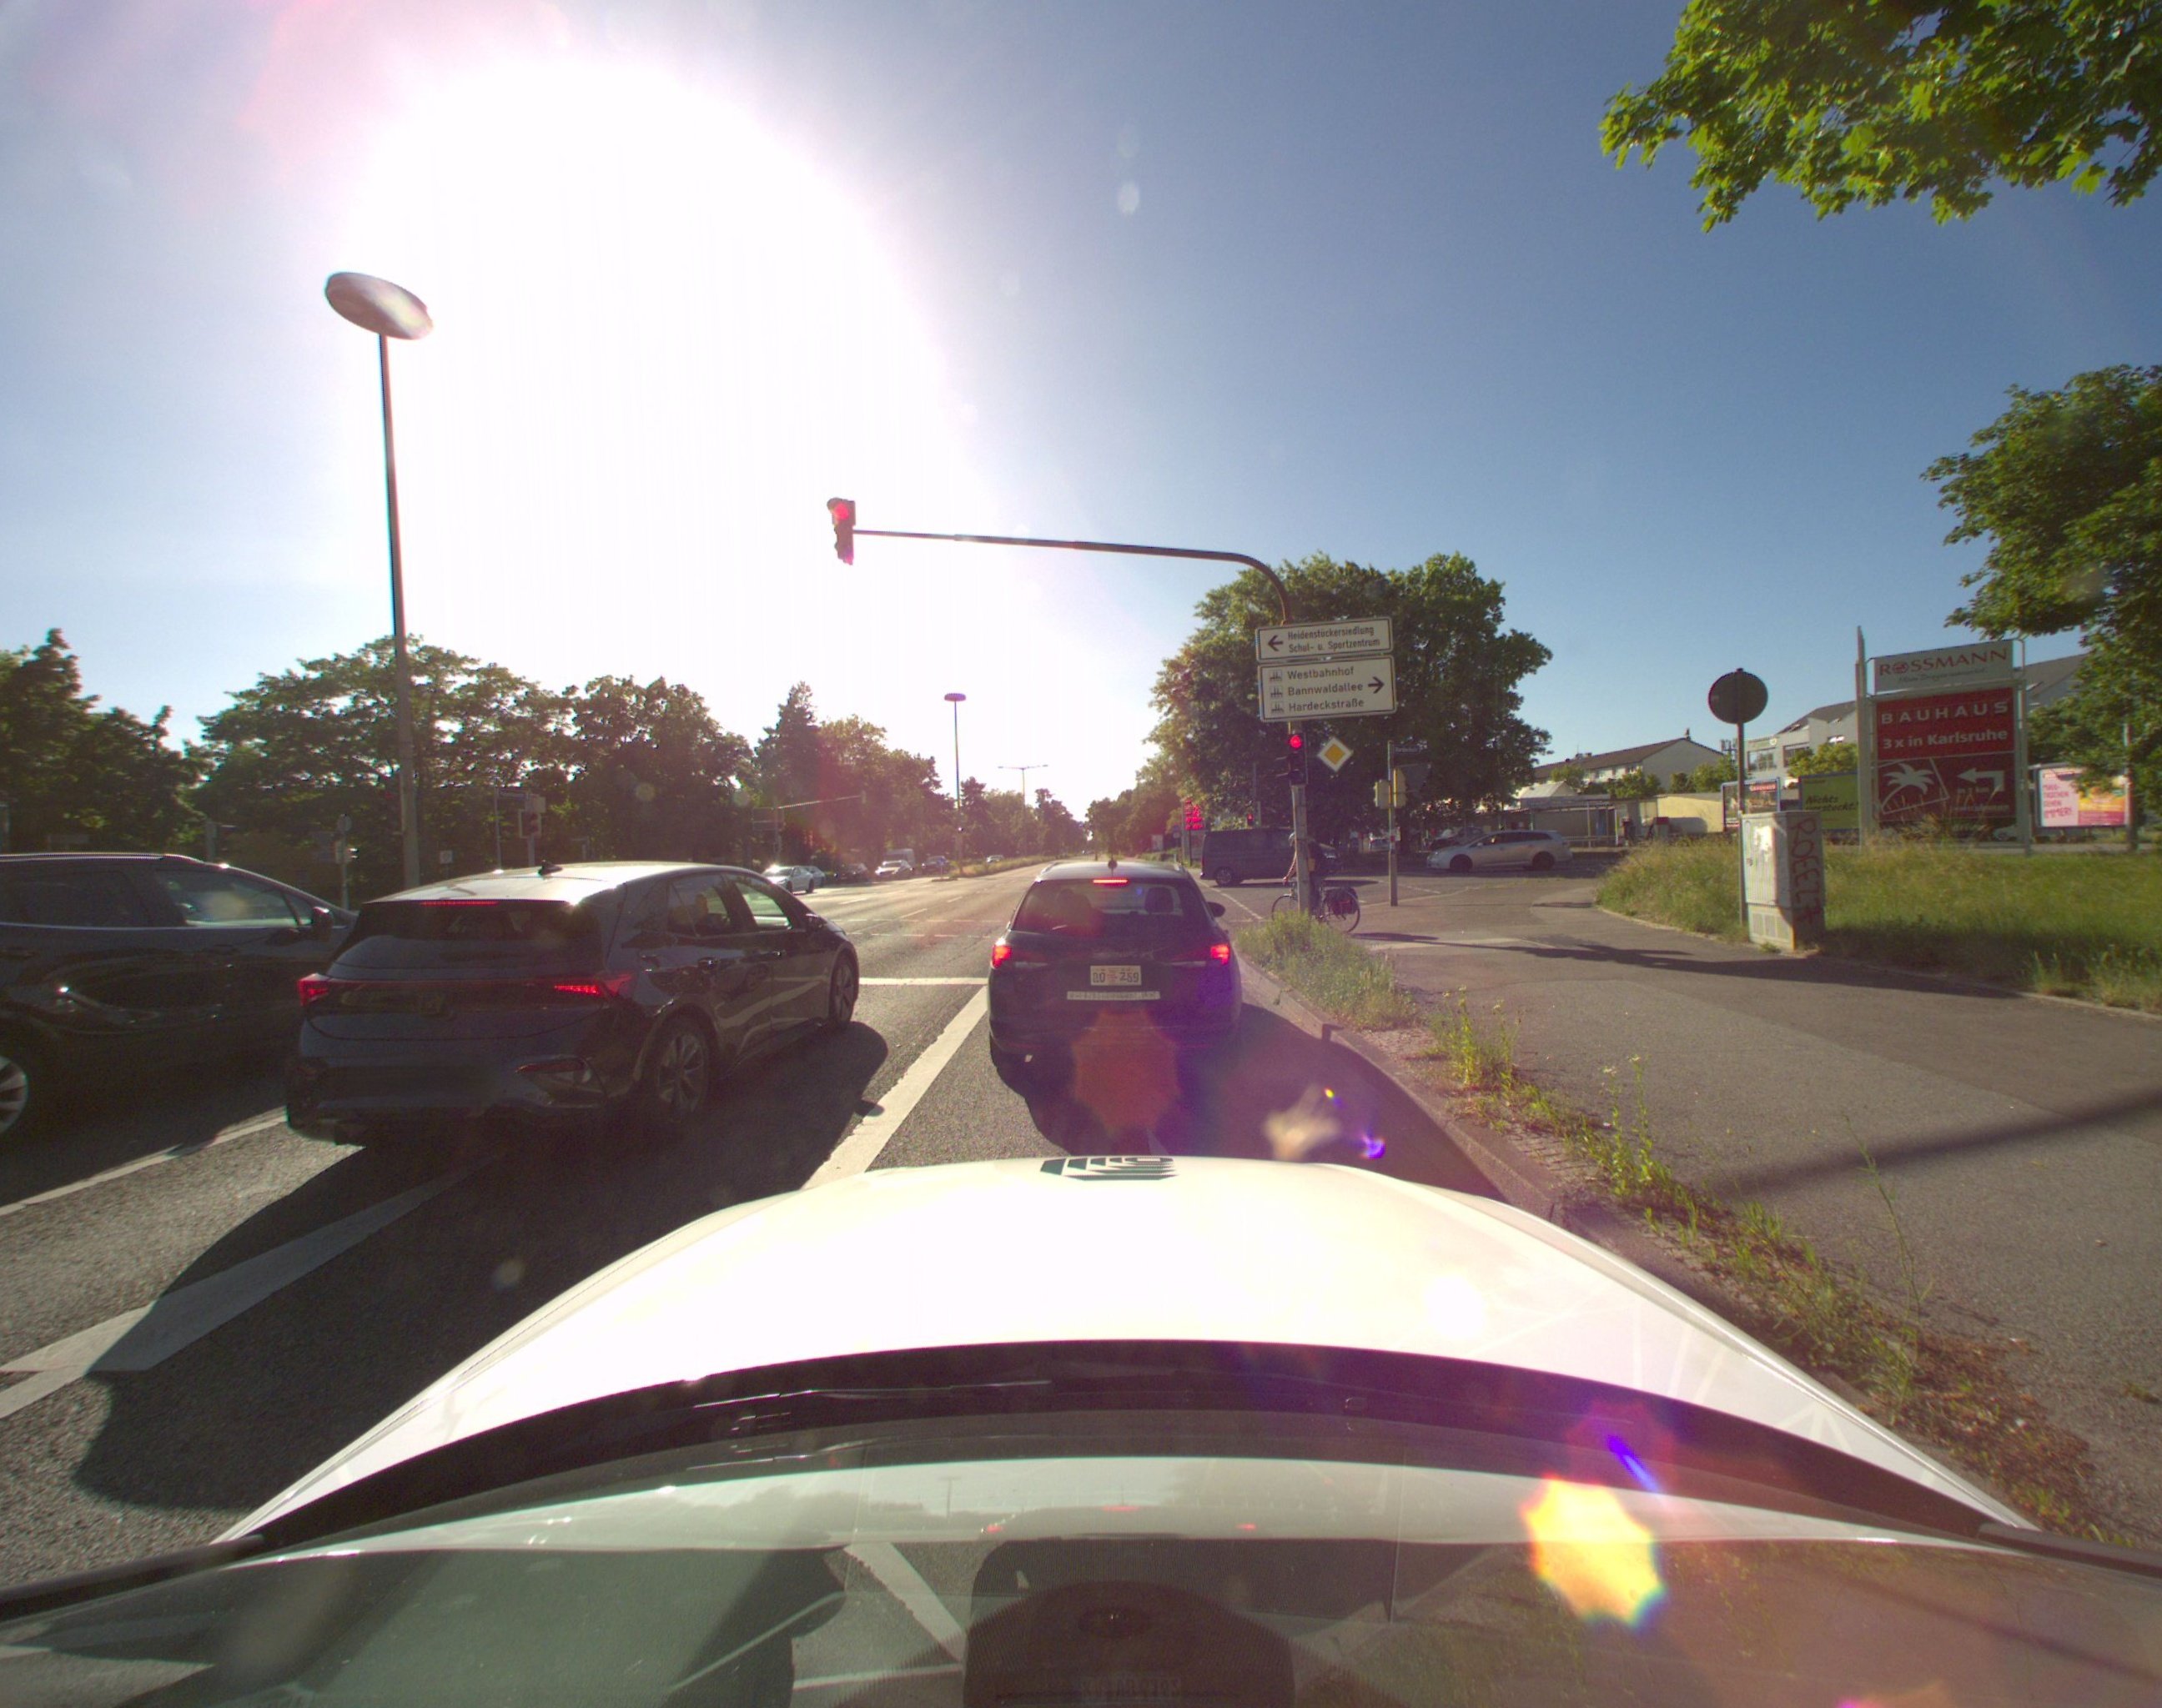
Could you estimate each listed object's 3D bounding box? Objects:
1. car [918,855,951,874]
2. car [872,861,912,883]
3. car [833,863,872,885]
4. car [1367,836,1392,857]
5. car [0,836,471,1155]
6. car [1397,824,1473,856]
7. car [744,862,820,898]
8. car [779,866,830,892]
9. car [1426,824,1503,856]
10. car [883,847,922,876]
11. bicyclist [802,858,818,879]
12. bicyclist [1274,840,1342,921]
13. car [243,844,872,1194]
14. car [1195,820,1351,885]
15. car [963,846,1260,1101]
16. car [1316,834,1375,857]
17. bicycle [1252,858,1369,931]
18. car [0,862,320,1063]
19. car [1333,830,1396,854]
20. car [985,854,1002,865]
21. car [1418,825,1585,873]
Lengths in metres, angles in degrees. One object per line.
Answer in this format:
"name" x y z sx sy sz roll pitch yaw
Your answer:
"car" -13.641 0.918 76.007 1.986 1.601 4.617 -3 0 2
"car" -13.995 1.311 60.622 1.680 1.433 4.617 -3 0 2
"car" -17.540 1.483 62.640 1.680 1.509 4.005 -3 0 2
"car" 25.377 -0.663 69.330 1.726 1.680 4.018 -3 0 17
"car" -6.621 0.788 5.518 1.798 1.689 4.002 -3 0 2
"car" 21.459 -0.832 49.396 4.003 1.750 1.985 -3 0 -22
"car" -14.662 1.238 40.165 1.881 1.524 4.506 -3 0 2
"car" -17.488 1.535 51.703 1.635 1.456 4.223 -3 0 2
"car" 22.377 -0.819 47.524 4.002 1.680 1.733 -3 0 -21
"car" -16.803 0.656 77.111 2.092 2.492 6.006 -3 0 2
"bicyclist" -22.507 1.194 67.602 0.874 1.648 1.198 -3 0 -3
"bicyclist" 3.717 0.440 13.374 0.541 1.277 0.819 -3 -2 -42
"car" -2.961 0.772 5.855 1.678 1.580 4.208 -1 0 2
"car" 6.717 -0.024 28.590 4.953 1.992 1.929 -3 0 25
"car" 0.247 0.725 6.964 1.750 1.495 4.208 -1 0 2
"car" 19.328 -0.619 59.523 3.903 1.517 1.733 -3 0 -21
"bicycle" 3.730 0.686 13.371 0.541 1.097 1.755 -3 -2 -42
"car" -10.225 0.989 7.921 1.824 1.702 3.999 -3 0 0
"car" 19.663 -0.826 56.431 3.903 1.517 1.733 -3 0 -21
"car" -12.718 0.847 118.428 1.769 1.463 4.166 -3 0 2
"car" 14.963 -0.170 29.292 4.969 1.486 2.007 -2 0 13
